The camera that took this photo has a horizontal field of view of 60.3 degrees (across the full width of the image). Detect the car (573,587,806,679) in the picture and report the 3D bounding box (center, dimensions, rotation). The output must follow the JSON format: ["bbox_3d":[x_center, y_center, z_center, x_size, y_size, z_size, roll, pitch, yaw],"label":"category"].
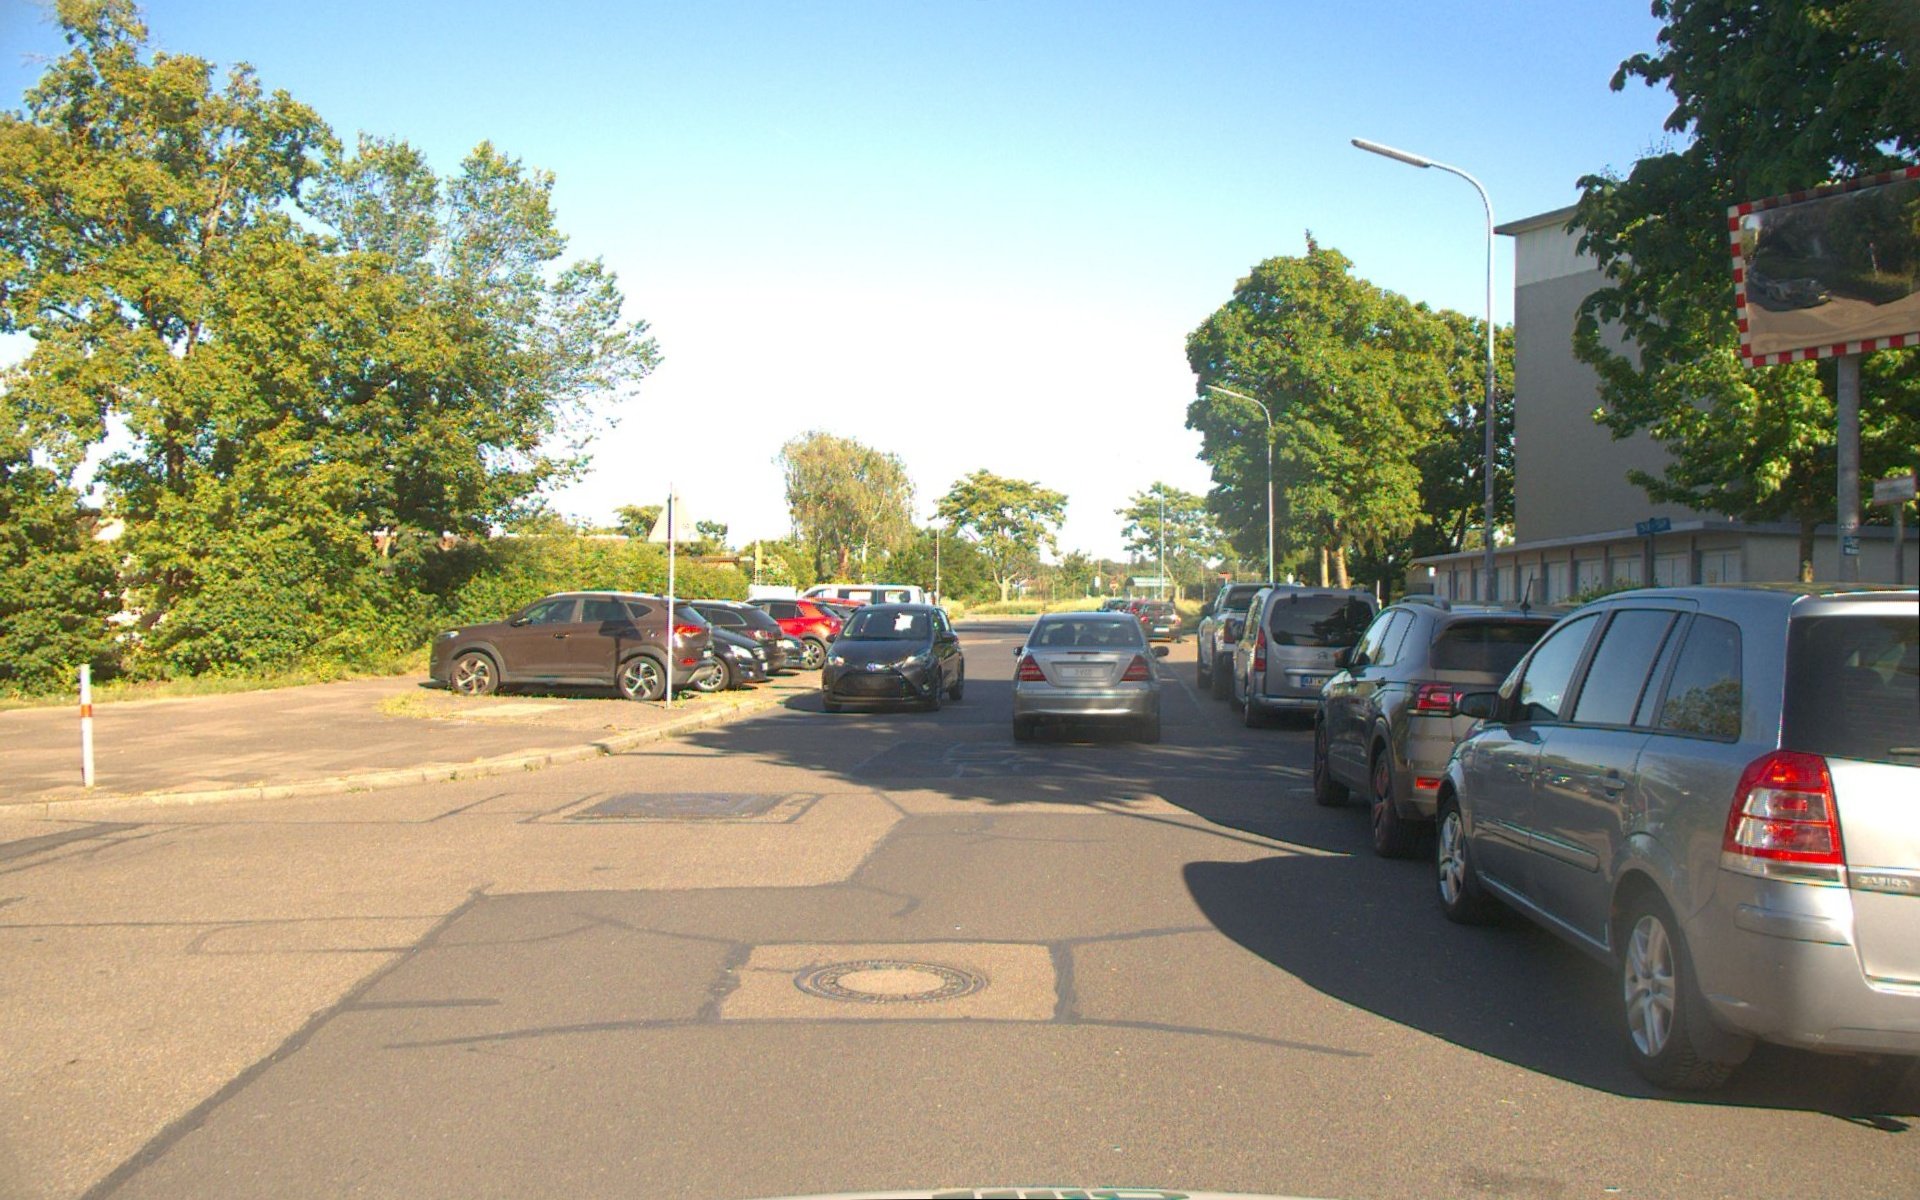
[{"bbox_3d":[-5.052,0.612,31.243,4.007,1.539,1.813,2,-1,3],"label":"car"}]

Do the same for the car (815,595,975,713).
[{"bbox_3d":[-0.883,0.770,24.729,1.614,1.583,4.005,-1,-1,9],"label":"car"}]

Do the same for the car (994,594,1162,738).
[{"bbox_3d":[1.499,0.697,19.849,1.777,1.489,4.364,1,0,6],"label":"car"}]

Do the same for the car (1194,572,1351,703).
[{"bbox_3d":[5.011,0.524,27.164,1.866,1.872,5.277,2,1,4],"label":"car"}]

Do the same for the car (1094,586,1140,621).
[{"bbox_3d":[7.465,0.175,78.816,1.696,1.570,3.787,1,-1,-2],"label":"car"}]

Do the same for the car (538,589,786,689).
[{"bbox_3d":[-5.171,0.668,29.043,3.904,1.559,1.832,2,-1,3],"label":"car"}]

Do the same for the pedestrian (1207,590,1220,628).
[{"bbox_3d":[10.787,0.372,70.382,0.471,1.592,0.597,-2,-1,10],"label":"pedestrian"}]

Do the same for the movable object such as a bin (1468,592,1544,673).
[{"bbox_3d":[9.496,0.562,28.818,1.223,1.371,1.053,0,-1,16],"label":"movable object such as a bin"}]

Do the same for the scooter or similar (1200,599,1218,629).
[{"bbox_3d":[10.443,0.589,69.325,0.610,1.249,0.905,-1,-1,0],"label":"scooter or similar"}]

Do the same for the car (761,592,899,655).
[{"bbox_3d":[-3.597,0.637,46.194,3.526,1.594,1.853,2,1,4],"label":"car"}]

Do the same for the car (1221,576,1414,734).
[{"bbox_3d":[4.619,0.620,21.991,1.795,1.822,4.557,2,1,4],"label":"car"}]

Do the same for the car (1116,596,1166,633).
[{"bbox_3d":[7.501,0.601,68.920,1.543,1.472,3.787,1,-1,-2],"label":"car"}]

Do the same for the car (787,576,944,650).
[{"bbox_3d":[-2.769,0.389,49.258,4.385,2.011,2.001,2,-1,3],"label":"car"}]

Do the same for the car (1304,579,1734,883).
[{"bbox_3d":[3.519,0.724,11.203,1.766,1.621,4.025,2,0,4],"label":"car"}]

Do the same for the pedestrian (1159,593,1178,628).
[{"bbox_3d":[9.646,0.484,76.432,0.771,1.592,0.569,2,-1,0],"label":"pedestrian"}]

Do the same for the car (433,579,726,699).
[{"bbox_3d":[-5.938,0.599,26.131,4.100,1.685,1.847,2,-1,2],"label":"car"}]

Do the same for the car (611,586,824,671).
[{"bbox_3d":[-4.876,0.579,33.645,3.935,1.539,1.906,2,-1,3],"label":"car"}]

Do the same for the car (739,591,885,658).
[{"bbox_3d":[-3.884,0.618,43.702,3.526,1.594,1.882,2,1,4],"label":"car"}]

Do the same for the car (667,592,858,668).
[{"bbox_3d":[-4.349,0.638,36.767,3.903,1.505,1.792,2,1,4],"label":"car"}]

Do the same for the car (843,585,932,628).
[{"bbox_3d":[-3.223,0.272,73.571,3.898,1.811,1.924,1,0,-3],"label":"car"}]

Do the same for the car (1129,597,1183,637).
[{"bbox_3d":[7.218,0.630,61.235,1.613,1.427,3.882,-1,-1,1],"label":"car"}]

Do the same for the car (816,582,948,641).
[{"bbox_3d":[-2.837,0.423,60.967,4.690,1.954,2.082,2,-1,1],"label":"car"}]

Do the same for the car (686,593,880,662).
[{"bbox_3d":[-4.306,0.656,40.674,4.448,1.505,1.748,2,1,4],"label":"car"}]

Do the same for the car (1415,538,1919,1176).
[{"bbox_3d":[3.146,0.711,6.441,1.731,1.638,4.374,2,-1,3],"label":"car"}]
